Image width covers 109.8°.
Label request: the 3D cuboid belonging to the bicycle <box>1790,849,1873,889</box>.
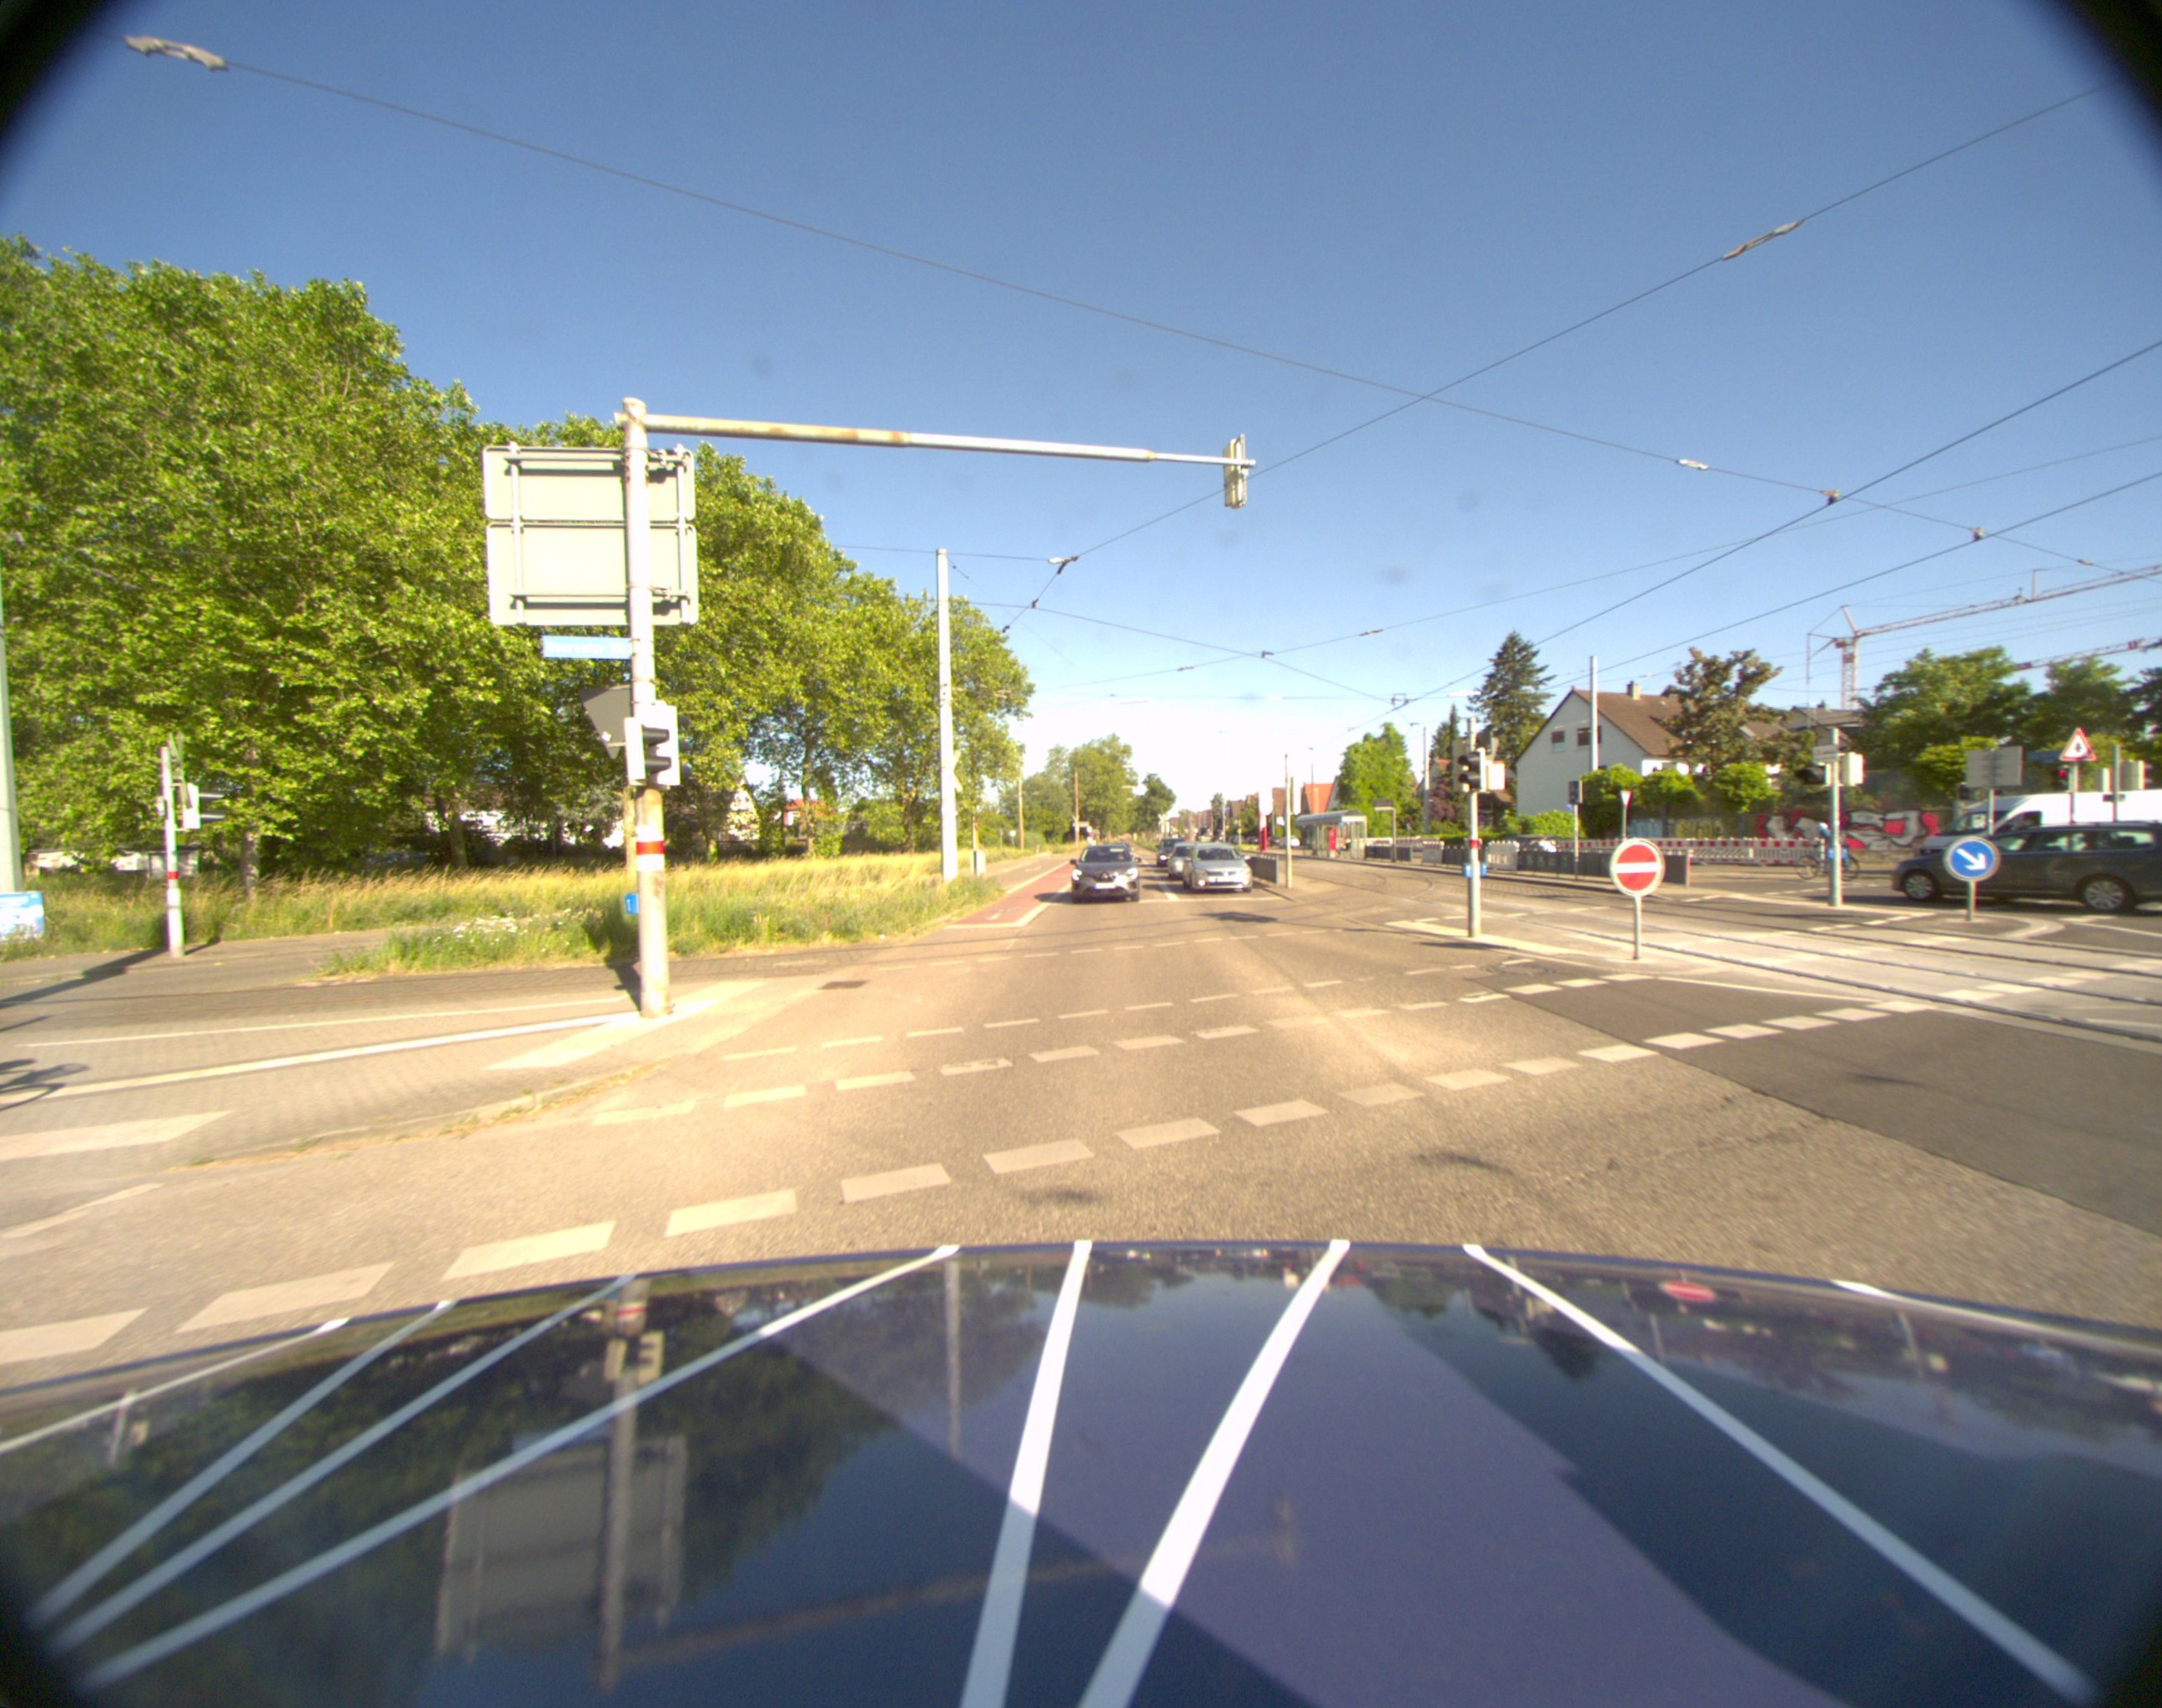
[{"bbox_3d":[21.262,0.407,21.572,0.508,1.036,1.949,-1,1,3],"label":"bicycle"}]

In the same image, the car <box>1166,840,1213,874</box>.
[{"bbox_3d":[5.247,0.101,37.315,1.754,1.526,4.194,-1,1,1],"label":"car"}]

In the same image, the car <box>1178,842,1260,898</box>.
[{"bbox_3d":[4.175,0.404,23.615,1.881,1.519,4.420,-1,1,2],"label":"car"}]

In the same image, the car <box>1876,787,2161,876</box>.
[{"bbox_3d":[29.062,-0.649,22.782,6.855,2.444,2.352,-1,2,21],"label":"car"}]

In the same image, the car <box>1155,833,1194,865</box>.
[{"bbox_3d":[5.374,-0.327,44.015,1.885,1.687,4.300,-1,1,2],"label":"car"}]

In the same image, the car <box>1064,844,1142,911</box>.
[{"bbox_3d":[0.660,0.539,20.231,1.838,1.541,3.816,-1,1,4],"label":"car"}]

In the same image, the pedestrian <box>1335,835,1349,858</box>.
[{"bbox_3d":[16.467,-0.480,47.977,0.623,1.407,0.711,-1,1,2],"label":"pedestrian"}]

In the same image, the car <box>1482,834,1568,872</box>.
[{"bbox_3d":[18.538,-0.074,31.904,1.686,1.450,3.704,-1,1,5],"label":"car"}]

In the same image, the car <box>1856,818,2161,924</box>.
[{"bbox_3d":[17.258,0.201,13.665,1.818,1.587,4.691,-2,1,-1],"label":"car"}]

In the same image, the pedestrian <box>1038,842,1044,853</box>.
[{"bbox_3d":[-4.026,-0.657,76.824,0.482,1.027,0.454,-1,2,4],"label":"pedestrian"}]

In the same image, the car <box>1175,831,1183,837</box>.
[{"bbox_3d":[29.679,-6.039,230.273,1.998,1.762,4.000,-1,1,4],"label":"car"}]

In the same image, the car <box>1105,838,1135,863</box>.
[{"bbox_3d":[2.595,-0.247,50.101,1.838,1.541,3.816,-1,1,4],"label":"car"}]

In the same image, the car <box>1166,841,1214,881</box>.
[{"bbox_3d":[4.348,0.227,30.689,1.585,1.460,3.414,-2,1,2],"label":"car"}]

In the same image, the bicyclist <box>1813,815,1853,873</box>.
[{"bbox_3d":[21.227,-0.275,21.469,0.490,1.599,0.648,-1,2,3],"label":"bicyclist"}]
